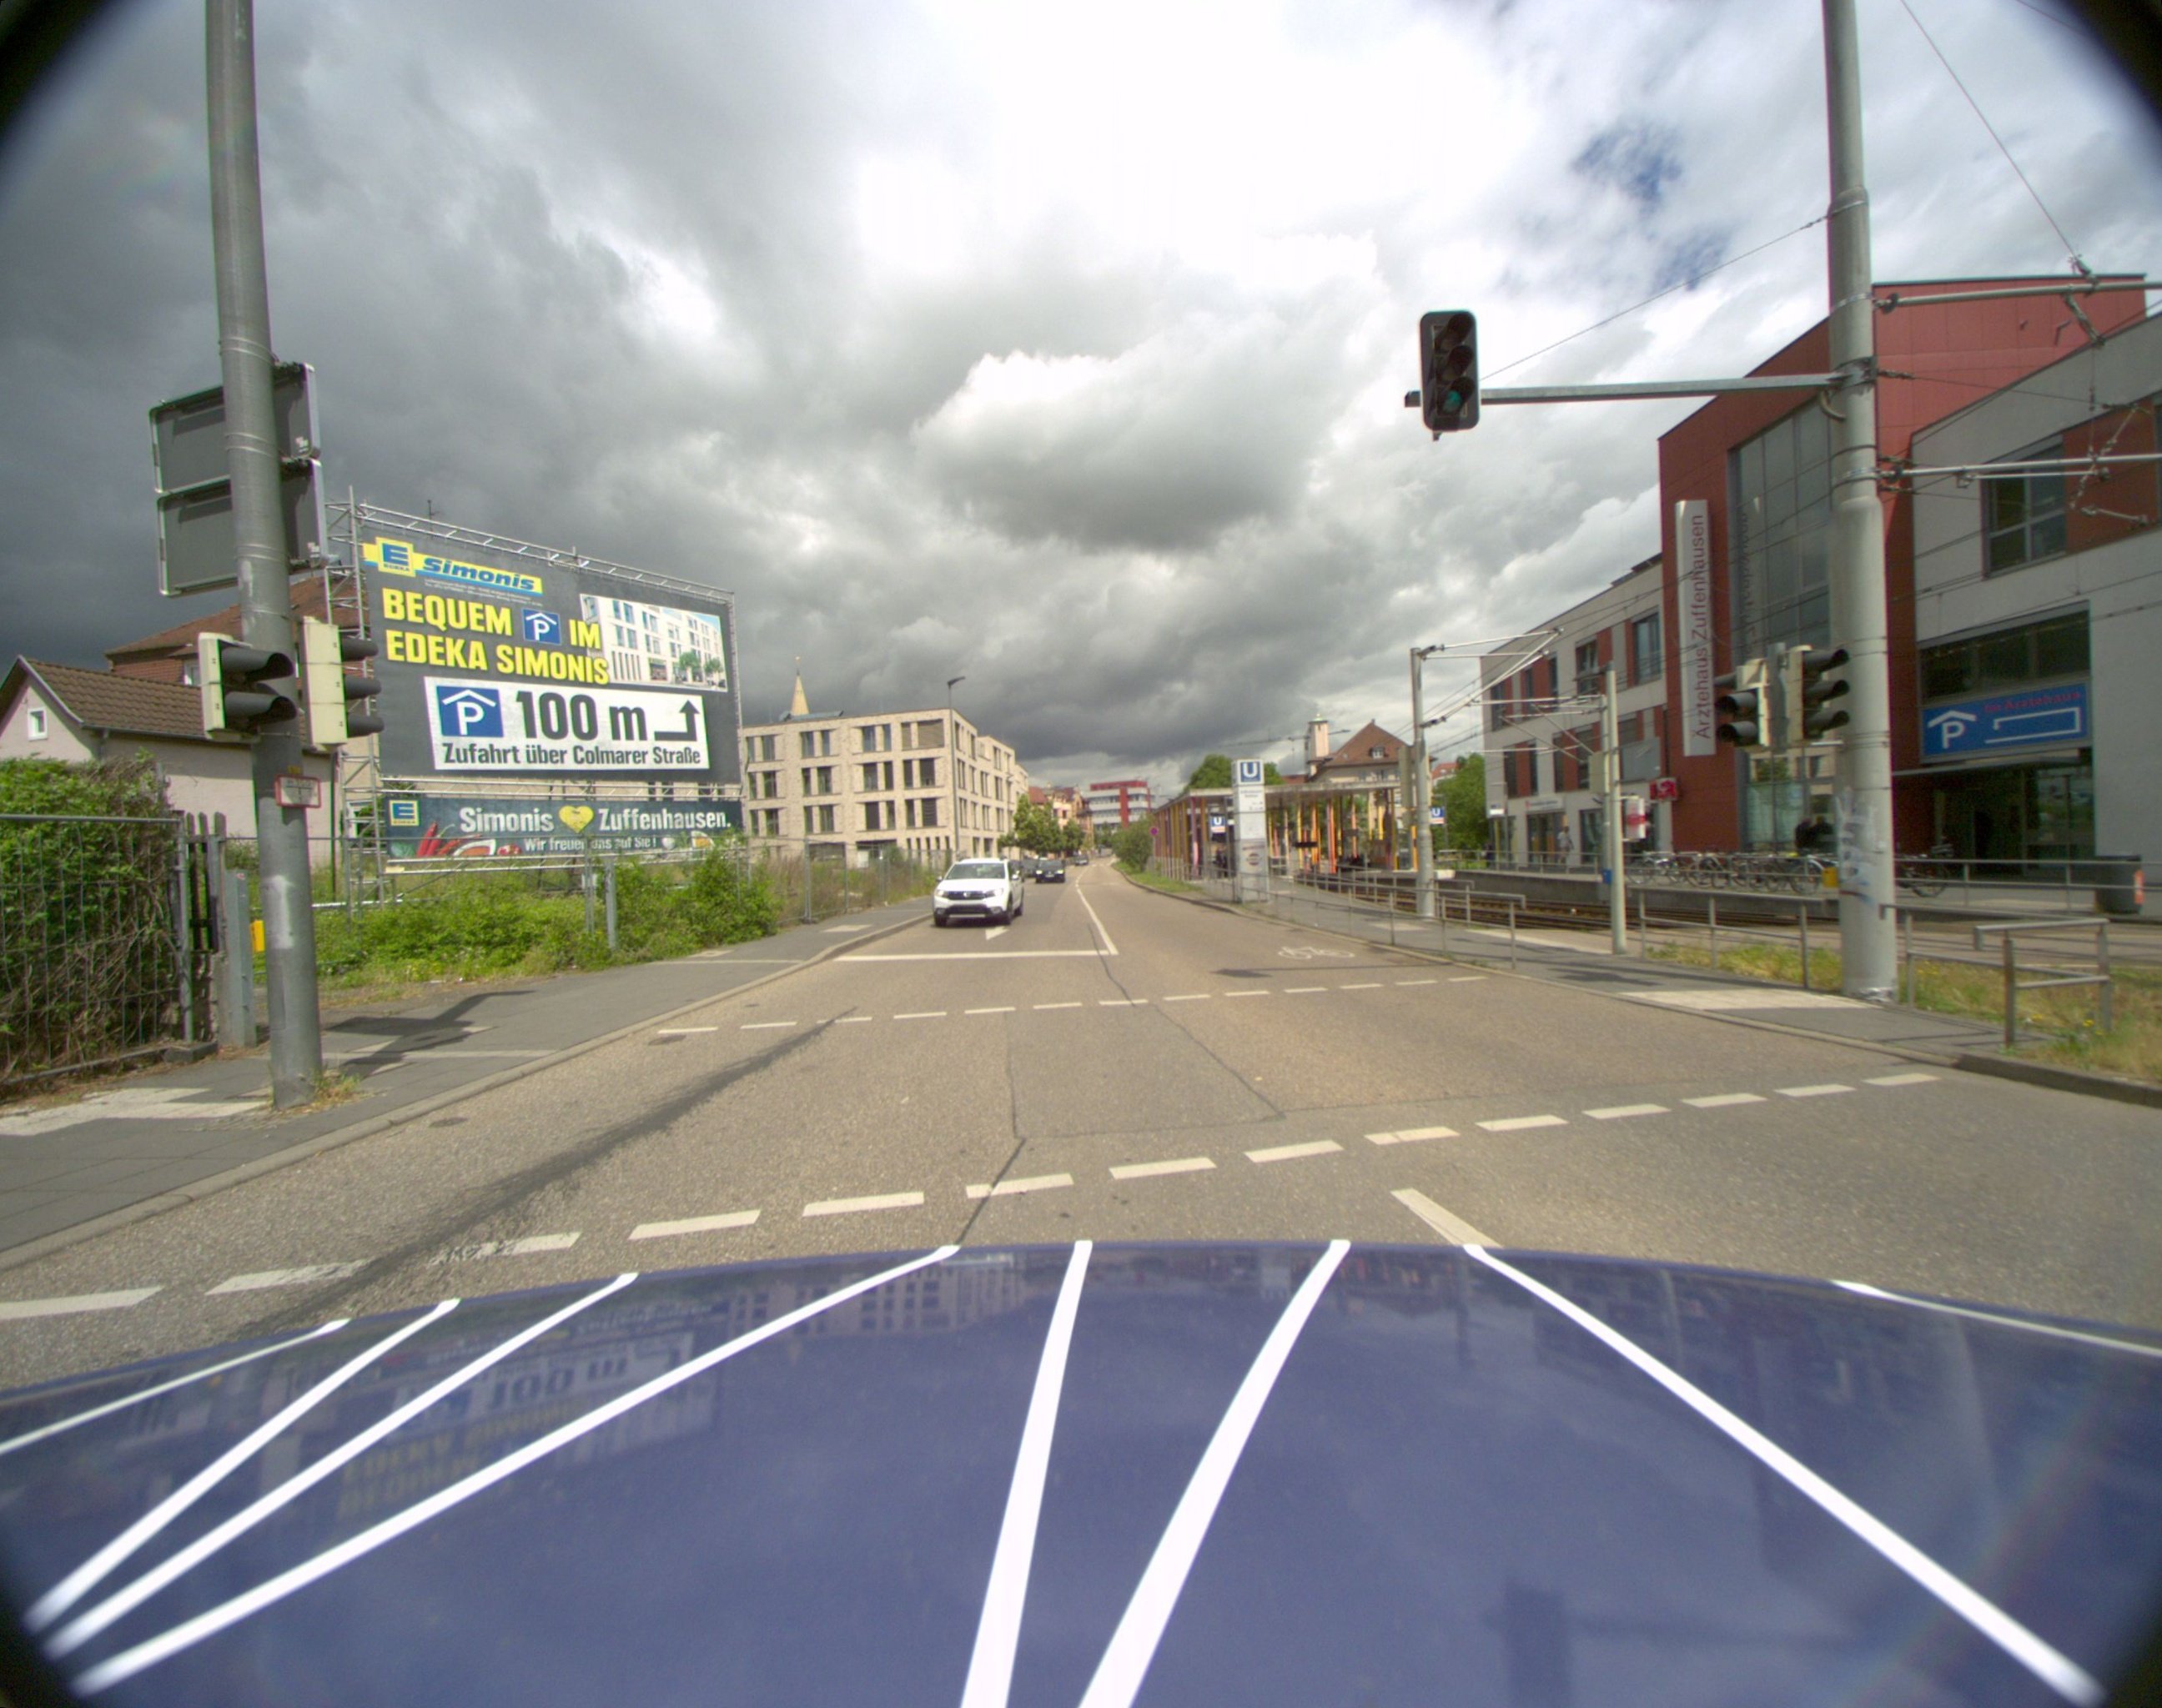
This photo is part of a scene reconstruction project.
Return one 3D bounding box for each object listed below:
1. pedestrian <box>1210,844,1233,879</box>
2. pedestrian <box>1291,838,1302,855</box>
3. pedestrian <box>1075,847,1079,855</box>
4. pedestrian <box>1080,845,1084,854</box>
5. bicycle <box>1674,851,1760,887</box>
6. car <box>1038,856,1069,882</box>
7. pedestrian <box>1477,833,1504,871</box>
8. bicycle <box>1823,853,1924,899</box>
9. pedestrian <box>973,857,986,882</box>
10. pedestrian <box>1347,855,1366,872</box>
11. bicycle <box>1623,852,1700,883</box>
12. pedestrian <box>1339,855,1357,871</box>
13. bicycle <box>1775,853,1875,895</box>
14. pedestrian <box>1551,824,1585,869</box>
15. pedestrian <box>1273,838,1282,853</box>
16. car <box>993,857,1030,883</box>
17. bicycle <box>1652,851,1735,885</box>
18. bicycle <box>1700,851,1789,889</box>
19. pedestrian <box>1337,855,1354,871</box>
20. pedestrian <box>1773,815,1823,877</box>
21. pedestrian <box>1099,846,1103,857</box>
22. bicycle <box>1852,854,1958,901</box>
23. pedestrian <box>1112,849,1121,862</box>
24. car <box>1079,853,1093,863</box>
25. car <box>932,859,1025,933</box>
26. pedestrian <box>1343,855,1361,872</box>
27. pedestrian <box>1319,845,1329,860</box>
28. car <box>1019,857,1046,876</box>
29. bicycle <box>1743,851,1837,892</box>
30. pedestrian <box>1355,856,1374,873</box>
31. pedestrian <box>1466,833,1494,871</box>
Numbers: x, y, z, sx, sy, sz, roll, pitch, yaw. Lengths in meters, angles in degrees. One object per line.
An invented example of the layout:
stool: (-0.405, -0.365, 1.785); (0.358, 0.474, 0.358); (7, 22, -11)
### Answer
pedestrian: (7.707, 0.390, 41.645); (1.105, 1.903, 0.864); (-1, 2, 2)
pedestrian: (26.608, -0.935, 93.944); (1.127, 2.002, 1.179); (-2, 0, 6)
pedestrian: (-0.741, -0.548, 139.584); (0.673, 1.503, 0.783); (-2, 0, 3)
pedestrian: (0.138, -0.840, 139.678); (0.673, 1.503, 0.783); (-2, 0, 3)
bicycle: (17.569, 0.418, 21.023); (1.861, 0.917, 0.455); (-2, 1, 8)
car: (-1.646, 0.885, 46.589); (1.678, 1.425, 3.794); (-2, 1, 0)
pedestrian: (21.583, -0.101, 40.065); (0.864, 1.957, 1.105); (-1, 2, -1)
bicycle: (17.714, 0.484, 16.999); (1.739, 0.952, 0.428); (-2, 1, 3)
pedestrian: (-6.246, 0.937, 46.725); (0.673, 1.503, 0.782); (-2, 0, 1)
pedestrian: (19.076, 0.678, 52.639); (0.943, 1.128, 0.886); (-2, 0, 2)
bicycle: (17.535, 0.417, 22.980); (1.861, 0.876, 0.455); (-2, 1, 9)
pedestrian: (19.188, 0.640, 54.588); (0.943, 1.128, 0.886); (-2, 0, 2)
bicycle: (17.648, 0.465, 18.039); (1.862, 0.930, 0.454); (-2, 1, 3)
pedestrian: (21.990, -0.347, 34.340); (0.864, 1.957, 1.106); (-1, 2, 3)
pedestrian: (26.575, -1.160, 102.738); (1.127, 2.002, 1.459); (-2, 0, 13)
car: (-4.152, 0.954, 46.115); (1.677, 1.415, 3.794); (-1, 1, 3)
bicycle: (17.594, 0.403, 21.852); (1.861, 0.927, 0.455); (-2, 1, 9)
bicycle: (17.551, 0.424, 20.122); (1.861, 0.934, 0.454); (-2, 1, 5)
pedestrian: (19.269, 0.624, 55.312); (0.943, 1.128, 0.886); (-2, 0, 2)
pedestrian: (22.013, -0.245, 23.340); (0.881, 1.835, 0.862); (-4, 3, -27)
pedestrian: (3.910, -0.465, 148.002); (0.800, 2.002, 0.810); (-1, 0, 9)
bicycle: (17.726, 0.498, 16.366); (1.739, 0.947, 0.428); (-2, 1, 3)
pedestrian: (4.840, 0.246, 104.835); (1.118, 1.744, 0.866); (-2, 0, -2)
car: (0.691, 0.549, 104.897); (1.677, 1.299, 3.794); (-1, 1, 3)
car: (-2.367, 0.927, 18.405); (1.719, 1.541, 3.793); (-1, 0, 0)
pedestrian: (19.091, 0.660, 53.597); (0.943, 1.128, 0.886); (-2, 0, 2)
pedestrian: (25.251, -0.149, 79.049); (0.744, 1.442, 0.902); (-2, 0, -2)
car: (-3.796, 0.978, 59.960); (1.677, 1.367, 3.795); (-2, 0, 3)
bicycle: (17.685, 0.433, 18.970); (1.862, 0.957, 0.454); (-2, 1, 3)
pedestrian: (19.271, 0.692, 51.684); (0.943, 1.128, 0.886); (-2, 0, 2)
pedestrian: (21.073, -0.097, 40.130); (0.864, 1.957, 1.105); (-1, 2, -1)
